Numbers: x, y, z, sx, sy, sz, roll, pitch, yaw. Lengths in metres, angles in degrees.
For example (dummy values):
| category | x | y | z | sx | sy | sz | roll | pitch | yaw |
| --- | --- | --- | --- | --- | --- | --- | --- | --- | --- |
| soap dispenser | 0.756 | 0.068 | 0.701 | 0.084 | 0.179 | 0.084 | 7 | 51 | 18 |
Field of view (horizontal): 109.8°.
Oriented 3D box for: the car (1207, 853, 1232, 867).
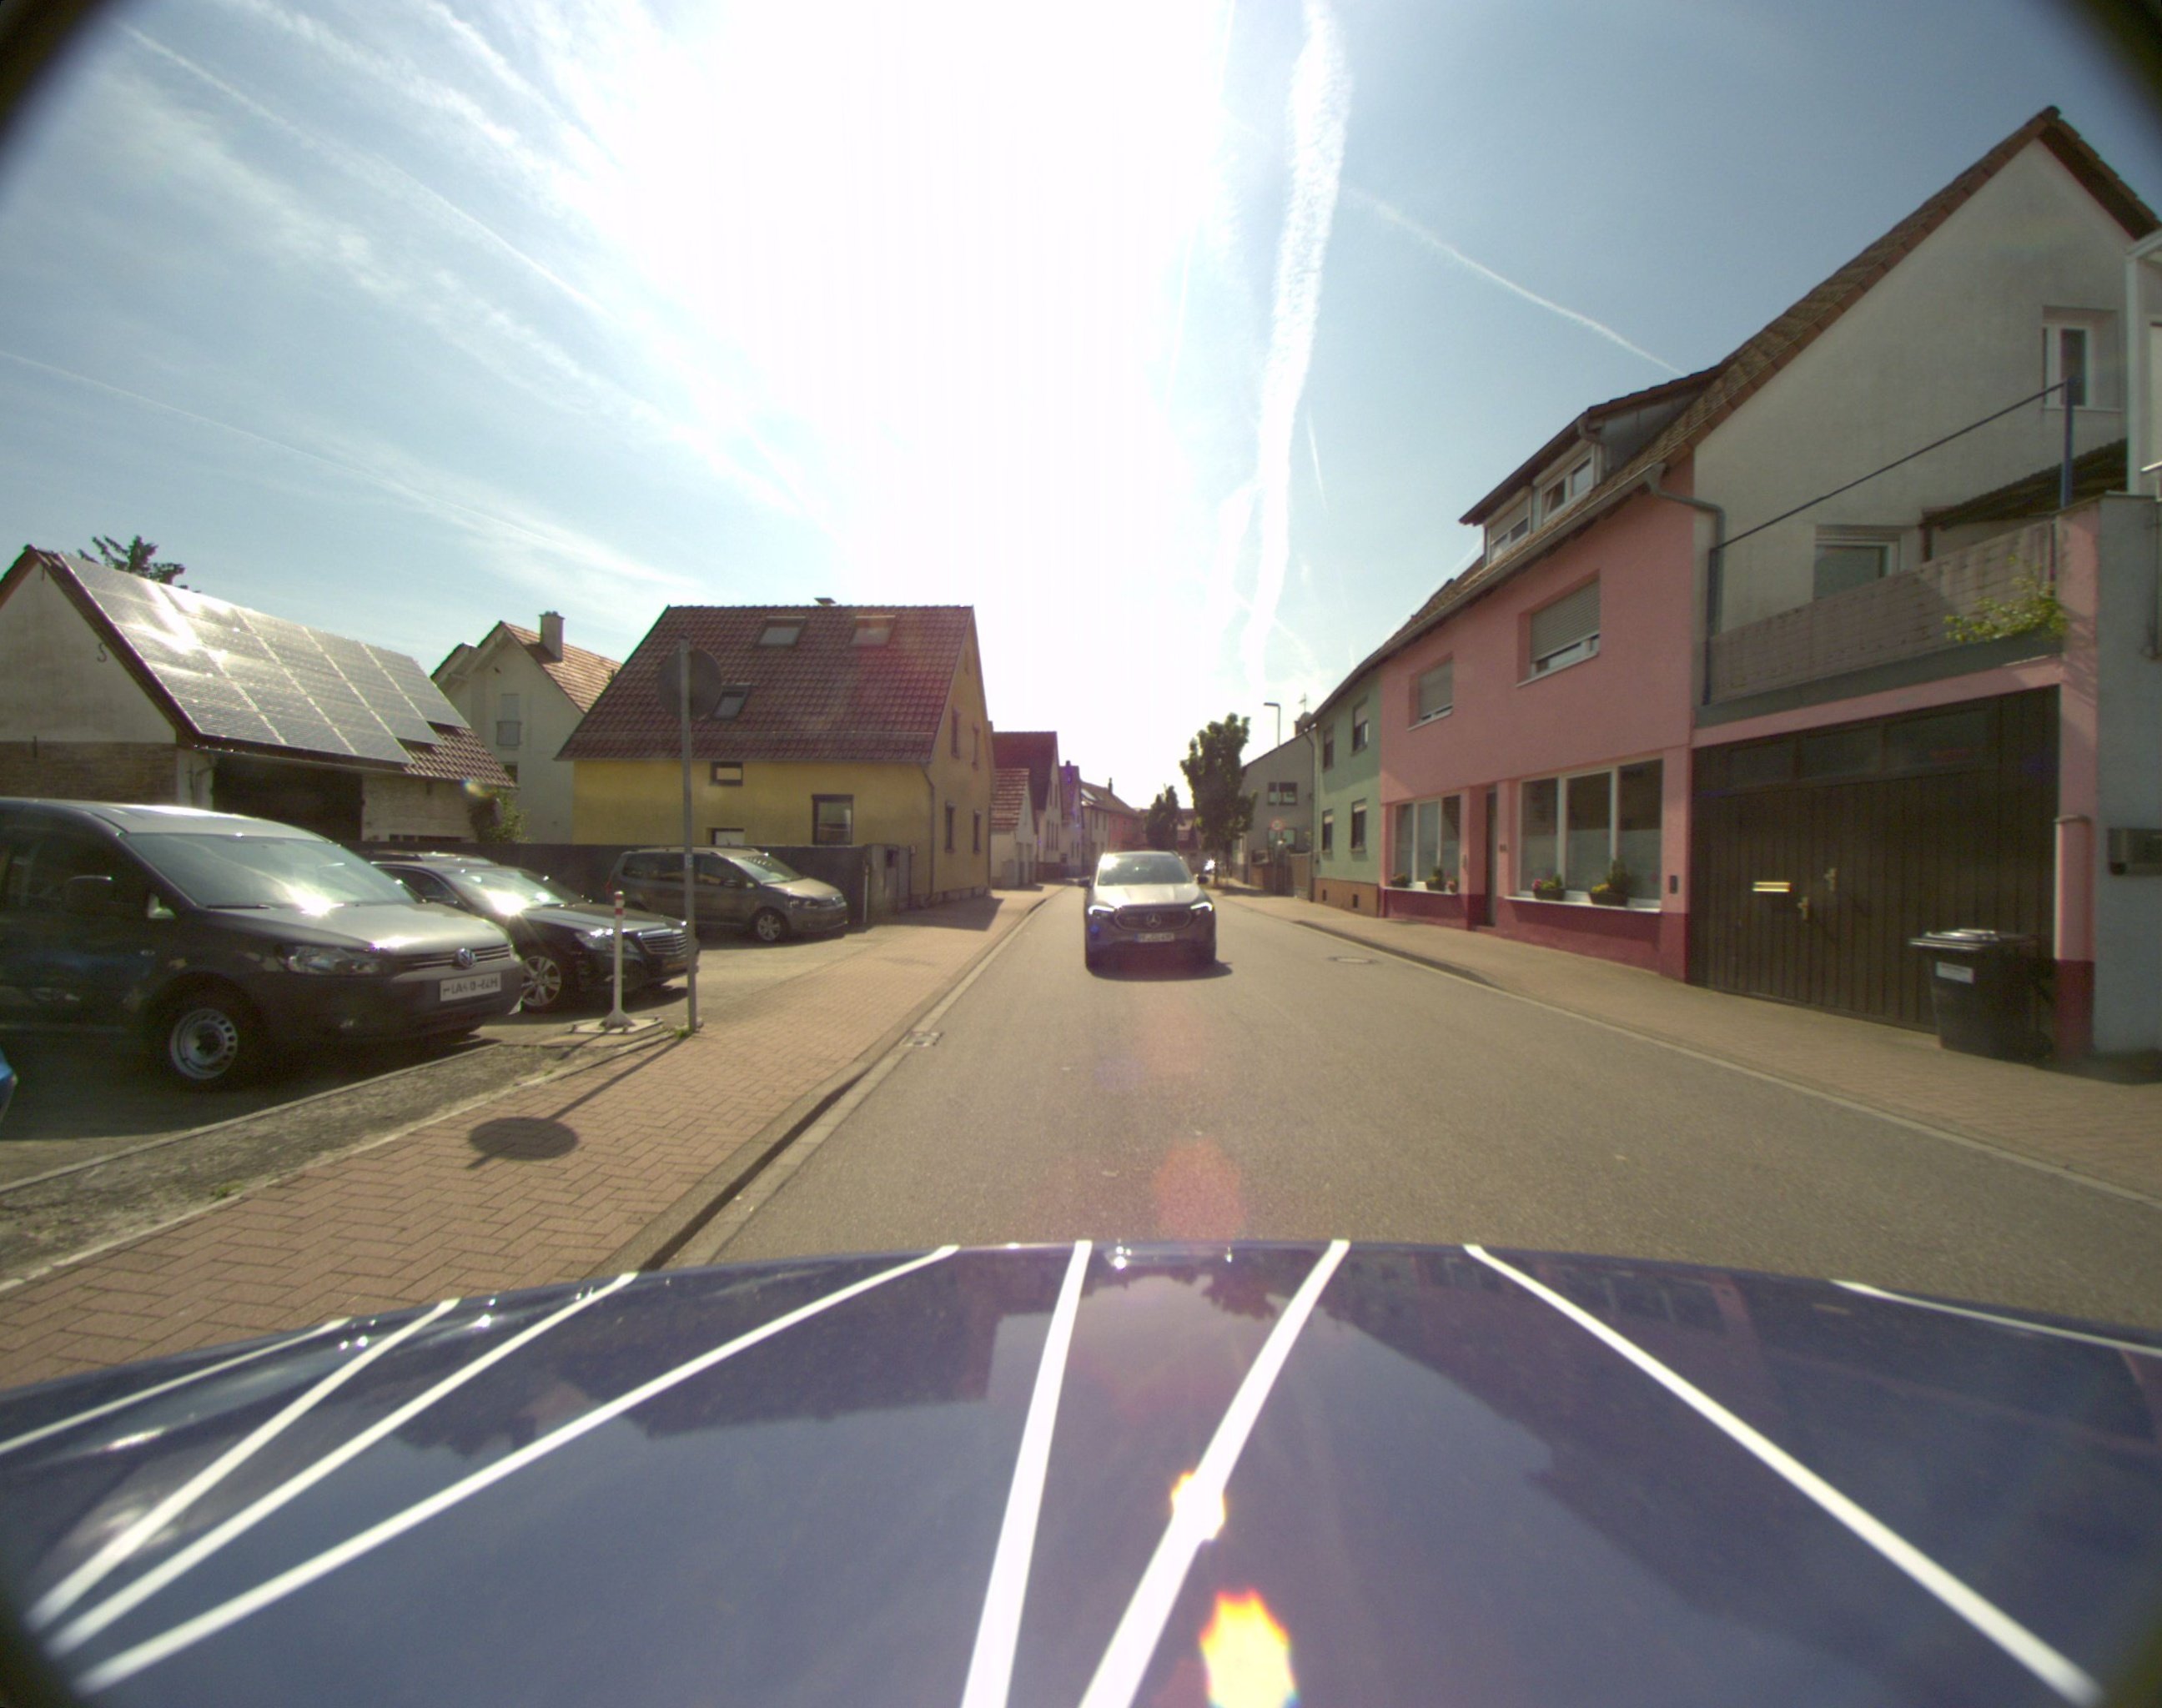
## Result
| category | x | y | z | sx | sy | sz | roll | pitch | yaw |
| --- | --- | --- | --- | --- | --- | --- | --- | --- | --- |
| car | 14.953 | 0.614 | 82.007 | 1.515 | 1.401 | 3.596 | -1 | 1 | 31 |

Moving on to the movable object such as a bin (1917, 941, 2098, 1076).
| category | x | y | z | sx | sy | sz | roll | pitch | yaw |
| --- | --- | --- | --- | --- | --- | --- | --- | --- | --- |
| movable object such as a bin | 6.932 | 1.138 | 5.714 | 0.631 | 0.875 | 0.599 | -2 | 1 | 2 |

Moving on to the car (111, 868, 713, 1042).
| category | x | y | z | sx | sy | sz | roll | pitch | yaw |
| --- | --- | --- | --- | --- | --- | --- | --- | --- | --- |
| car | -6.543 | 0.911 | 7.788 | 4.645 | 1.489 | 1.911 | 0 | 0 | 4 |

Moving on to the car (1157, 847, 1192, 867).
| category | x | y | z | sx | sy | sz | roll | pitch | yaw |
| --- | --- | --- | --- | --- | --- | --- | --- | --- | --- |
| car | 9.822 | 0.301 | 79.307 | 1.944 | 1.841 | 4.517 | -1 | 1 | 31 |

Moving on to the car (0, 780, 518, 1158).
| category | x | y | z | sx | sy | sz | roll | pitch | yaw |
| --- | --- | --- | --- | --- | --- | --- | --- | --- | --- |
| car | -6.564 | 0.603 | 4.787 | 4.645 | 1.798 | 1.967 | 0 | -3 | 4 |

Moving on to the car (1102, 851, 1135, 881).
| category | x | y | z | sx | sy | sz | roll | pitch | yaw |
| --- | --- | --- | --- | --- | --- | --- | --- | --- | --- |
| car | 2.338 | 0.711 | 46.549 | 1.791 | 1.643 | 4.394 | 0 | 2 | 6 |

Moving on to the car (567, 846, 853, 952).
| category | x | y | z | sx | sy | sz | roll | pitch | yaw |
| --- | --- | --- | --- | --- | --- | --- | --- | --- | --- |
| car | -6.526 | 0.742 | 13.603 | 4.336 | 1.736 | 1.738 | 0 | 1 | 8 |

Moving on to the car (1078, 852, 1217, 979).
| category | x | y | z | sx | sy | sz | roll | pitch | yaw |
| --- | --- | --- | --- | --- | --- | --- | --- | --- | --- |
| car | 0.914 | 0.787 | 11.832 | 1.737 | 1.564 | 4.290 | -2 | 0 | 2 |

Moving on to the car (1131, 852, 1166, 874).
| category | x | y | z | sx | sy | sz | roll | pitch | yaw |
| --- | --- | --- | --- | --- | --- | --- | --- | --- | --- |
| car | 5.684 | 0.758 | 63.530 | 1.804 | 1.617 | 4.129 | -2 | 1 | 20 |

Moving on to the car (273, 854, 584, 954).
| category | x | y | z | sx | sy | sz | roll | pitch | yaw |
| --- | --- | --- | --- | --- | --- | --- | --- | --- | --- |
| car | -11.937 | 0.832 | 14.019 | 4.547 | 1.499 | 1.989 | 2 | 1 | 12 |
